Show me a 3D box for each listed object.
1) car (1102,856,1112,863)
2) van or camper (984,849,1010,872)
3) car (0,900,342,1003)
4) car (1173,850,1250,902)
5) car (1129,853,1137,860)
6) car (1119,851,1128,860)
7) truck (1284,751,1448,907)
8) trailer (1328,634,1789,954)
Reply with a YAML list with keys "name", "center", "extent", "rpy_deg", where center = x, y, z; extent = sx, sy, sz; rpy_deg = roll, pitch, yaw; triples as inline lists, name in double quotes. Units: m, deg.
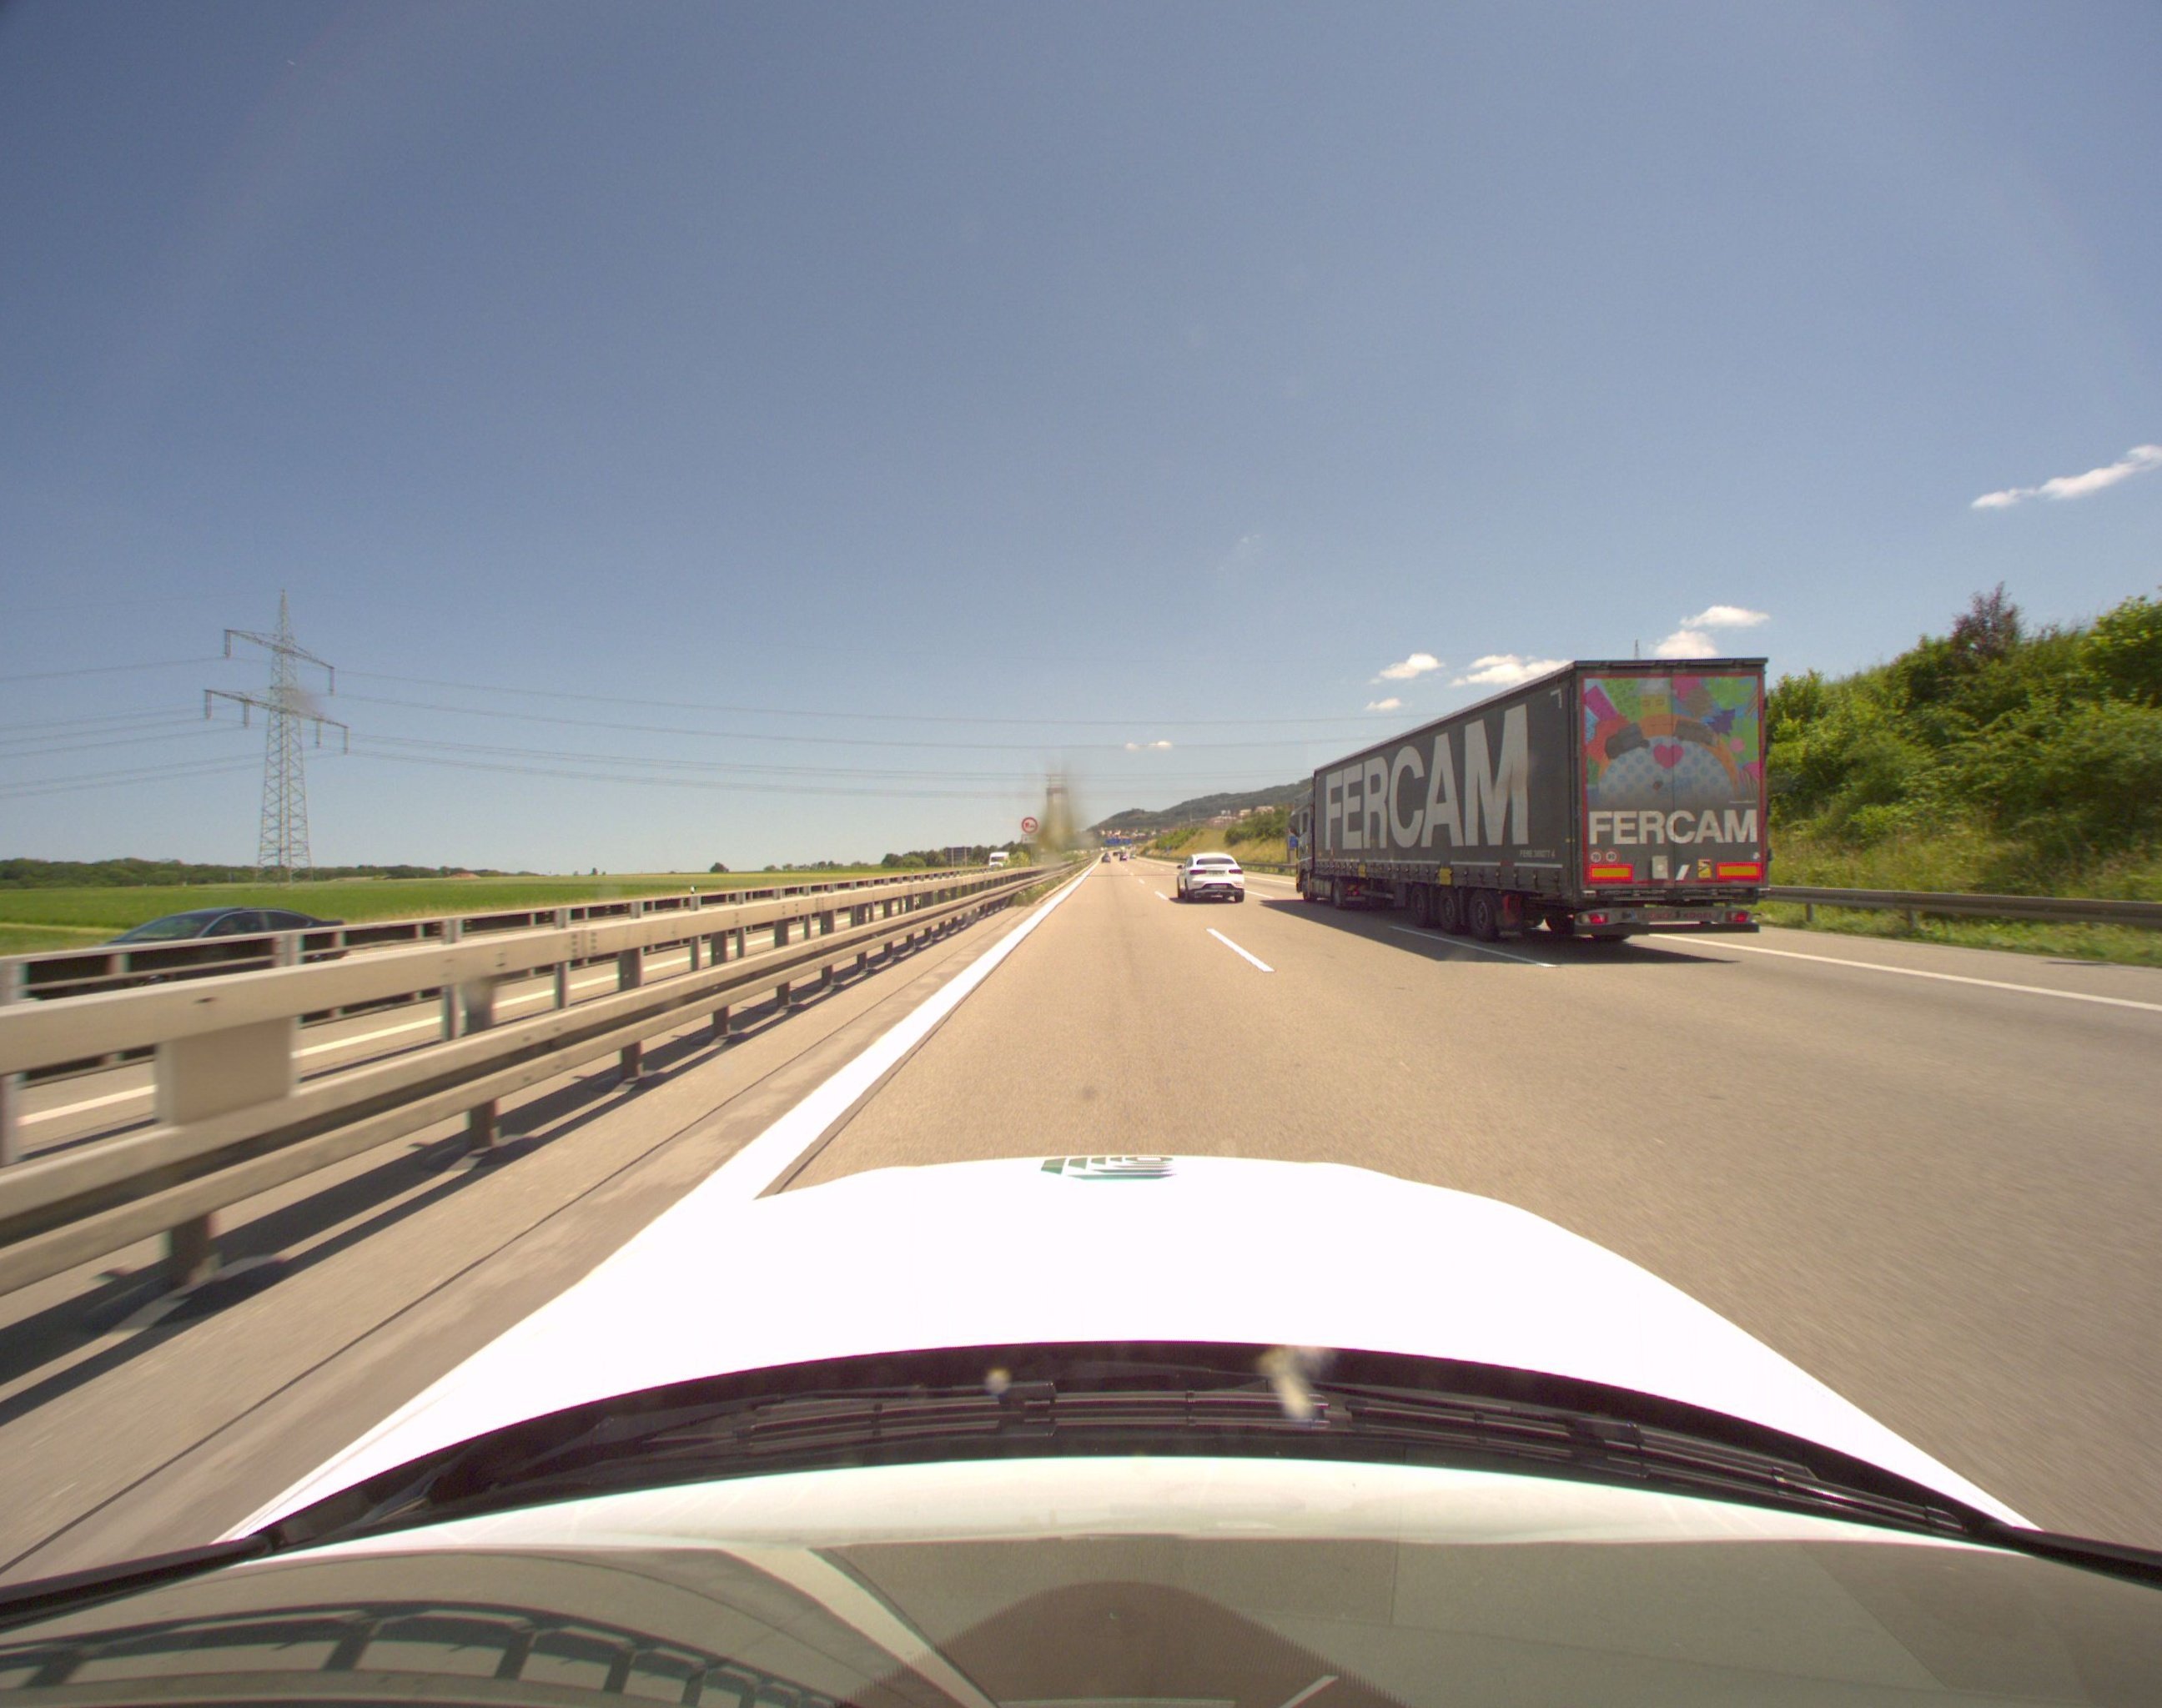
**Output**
- name: "car"
  center: [4.927, 1.026, 154.654]
  extent: [1.986, 1.389, 4.002]
  rpy_deg: [0, -1, 2]
- name: "van or camper"
  center: [-9.798, 0.769, 95.748]
  extent: [2.219, 2.509, 6.599]
  rpy_deg: [0, -1, 2]
- name: "car"
  center: [-15.989, 1.621, 14.650]
  extent: [1.567, 1.306, 4.043]
  rpy_deg: [-3, 0, 2]
- name: "car"
  center: [4.348, 0.699, 27.874]
  extent: [1.907, 1.581, 5.232]
  rpy_deg: [0, 0, 1]
- name: "car"
  center: [15.469, 0.684, 242.193]
  extent: [1.986, 1.818, 4.002]
  rpy_deg: [-3, 0, 2]
- name: "car"
  center: [9.695, 0.304, 184.768]
  extent: [1.986, 2.014, 4.002]
  rpy_deg: [0, -1, 2]
- name: "truck"
  center: [8.260, -0.626, 24.584]
  extent: [2.742, 4.020, 6.791]
  rpy_deg: [0, -1, 2]
- name: "trailer"
  center: [7.997, -0.741, 16.507]
  extent: [2.715, 4.155, 11.812]
  rpy_deg: [0, -1, 2]
